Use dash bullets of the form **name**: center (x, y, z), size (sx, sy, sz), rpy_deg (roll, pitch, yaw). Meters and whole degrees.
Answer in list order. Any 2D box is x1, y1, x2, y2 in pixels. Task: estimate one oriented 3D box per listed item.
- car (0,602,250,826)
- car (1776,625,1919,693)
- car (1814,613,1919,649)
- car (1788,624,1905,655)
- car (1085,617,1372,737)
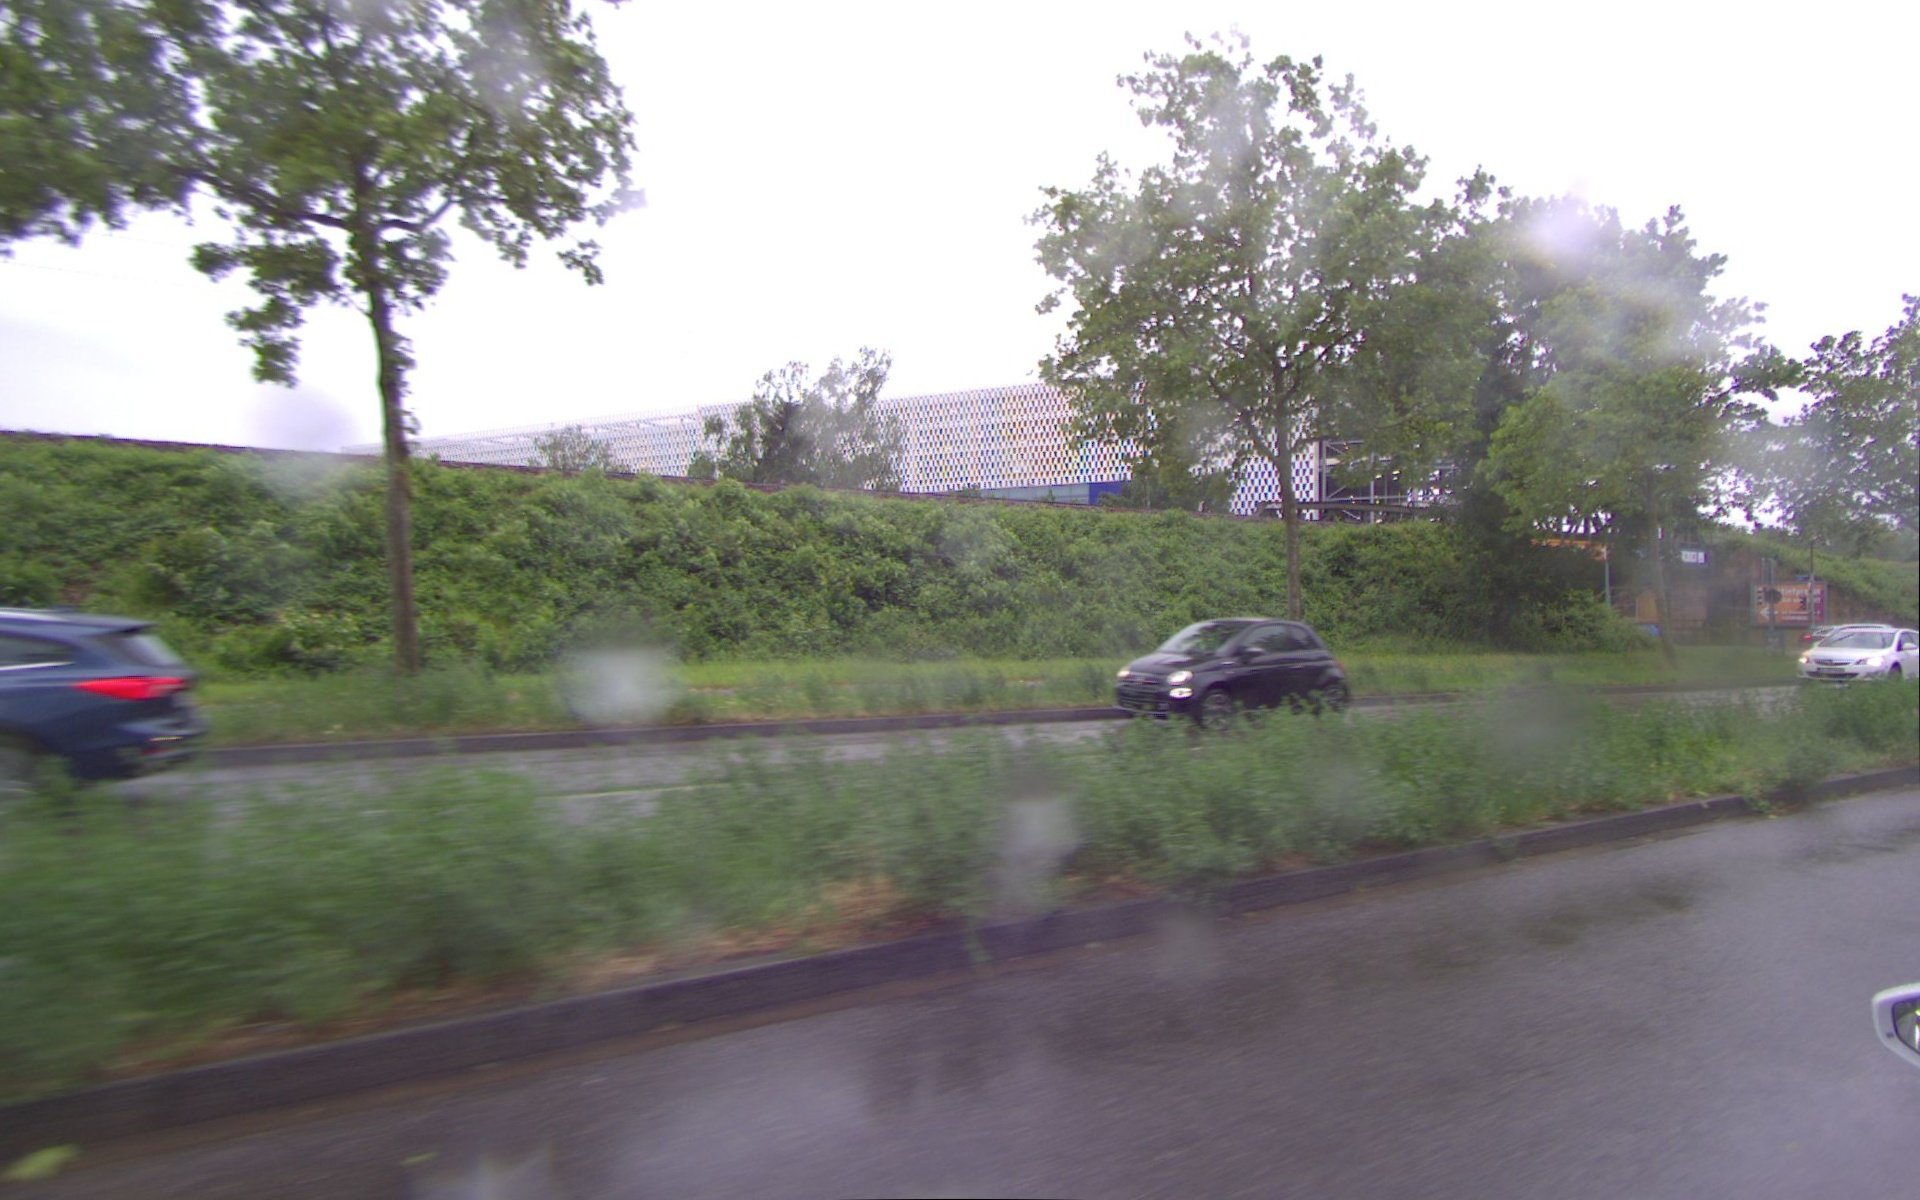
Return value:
- **car**: center (-7.728, 0.738, 6.913), size (4.443, 1.464, 1.922), rpy_deg (1, 0, -30)
- **car**: center (22.066, 1.374, 24.453), size (4.602, 1.464, 1.922), rpy_deg (1, 0, -30)
- **car**: center (42.673, 1.416, 46.486), size (1.835, 1.610, 4.497), rpy_deg (1, -1, -20)
- **car**: center (46.114, 2.033, 52.384), size (4.311, 1.557, 1.798), rpy_deg (0, -1, 32)
- **car**: center (3.816, 1.000, 14.225), size (3.664, 1.464, 1.922), rpy_deg (1, 0, -30)
